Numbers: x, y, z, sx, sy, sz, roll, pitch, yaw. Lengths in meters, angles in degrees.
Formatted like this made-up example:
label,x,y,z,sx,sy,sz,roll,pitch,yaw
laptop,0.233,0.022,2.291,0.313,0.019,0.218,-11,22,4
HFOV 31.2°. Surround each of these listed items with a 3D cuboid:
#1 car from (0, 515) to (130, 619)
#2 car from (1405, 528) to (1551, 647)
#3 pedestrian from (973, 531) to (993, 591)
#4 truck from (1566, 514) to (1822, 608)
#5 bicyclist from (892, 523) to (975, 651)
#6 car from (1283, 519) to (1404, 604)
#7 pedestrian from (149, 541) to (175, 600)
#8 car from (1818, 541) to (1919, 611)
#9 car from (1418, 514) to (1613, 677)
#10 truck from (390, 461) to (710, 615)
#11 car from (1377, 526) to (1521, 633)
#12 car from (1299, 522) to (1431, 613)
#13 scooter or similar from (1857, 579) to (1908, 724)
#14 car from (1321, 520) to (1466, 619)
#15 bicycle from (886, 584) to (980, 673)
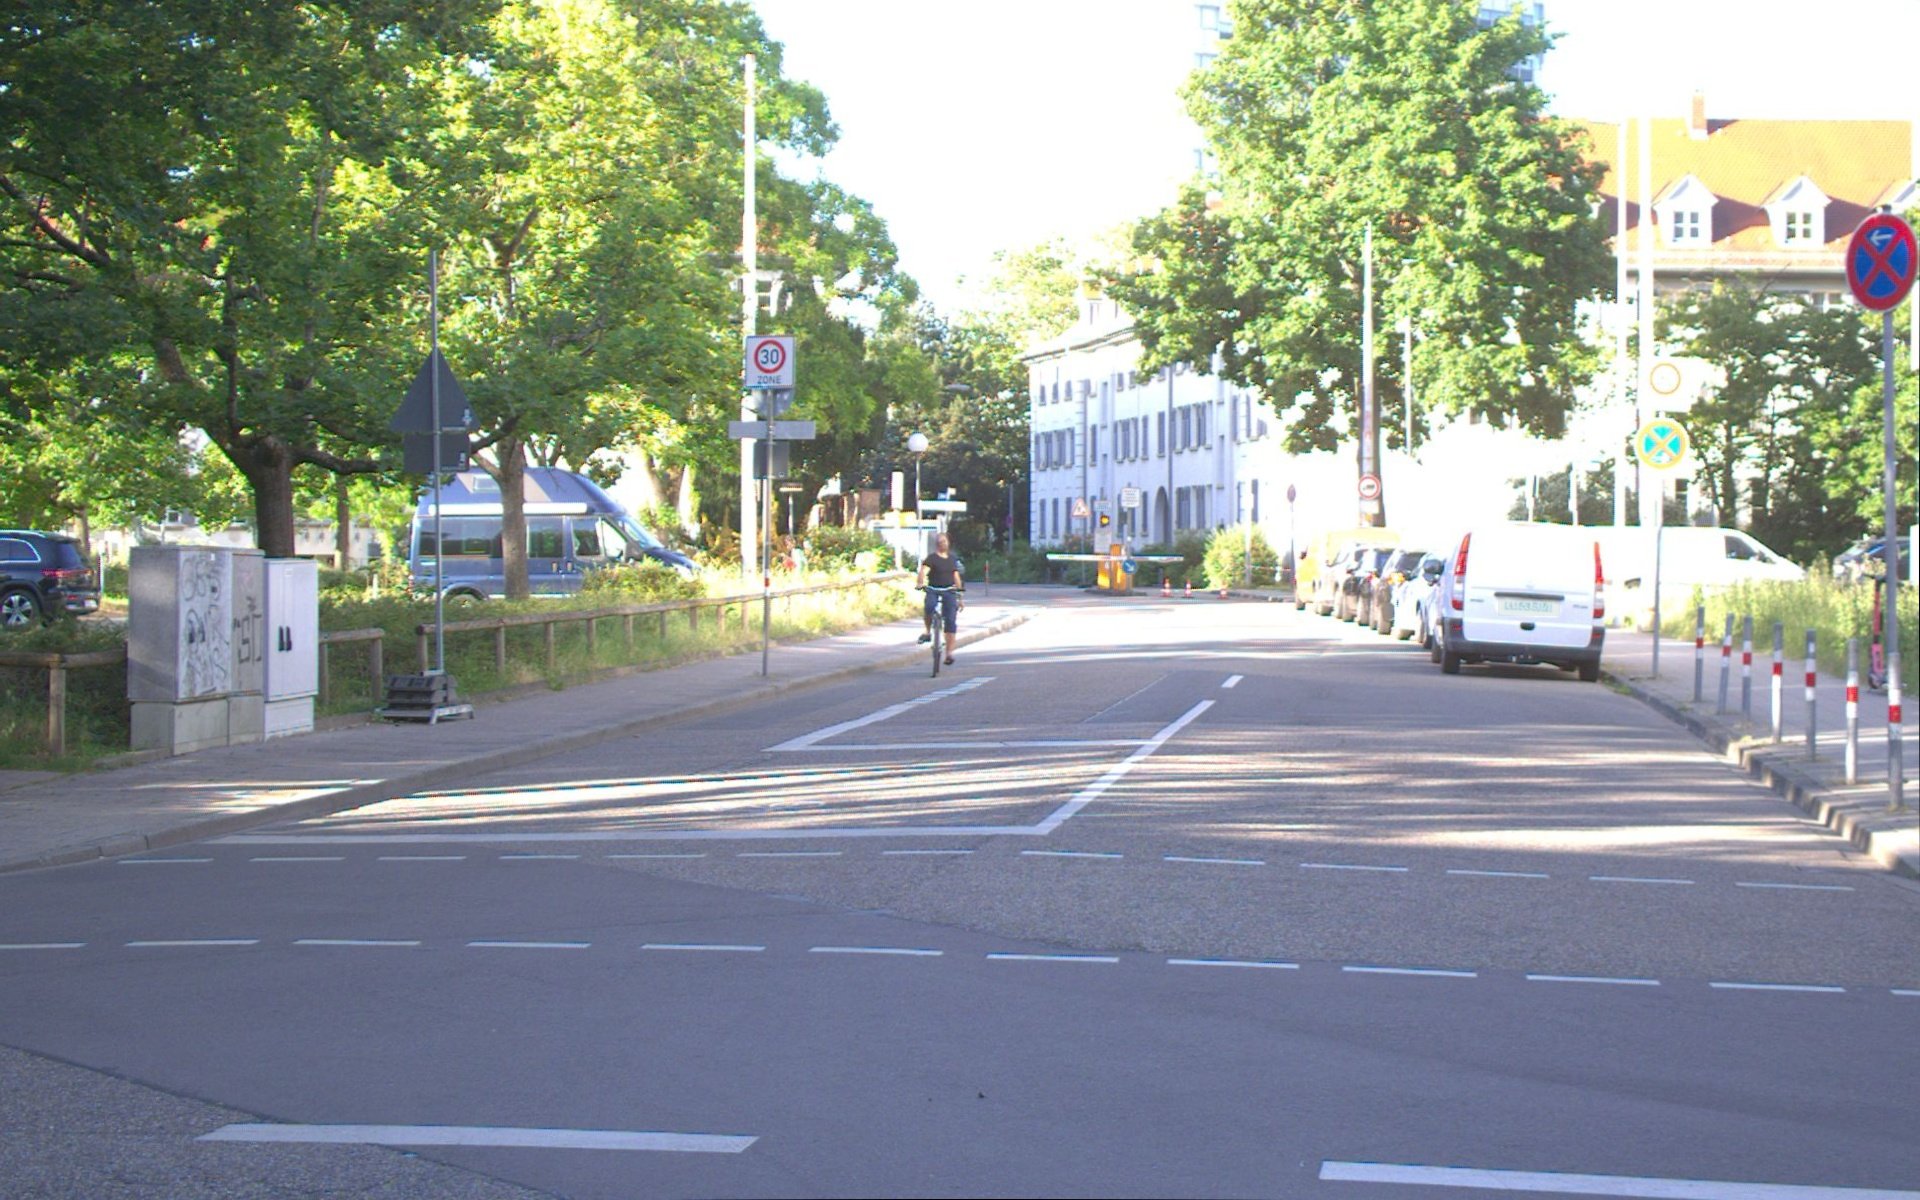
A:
label,x,y,z,sx,sy,sz,roll,pitch,yaw
car,-16.623,-0.553,58.221,4.556,1.724,2.073,0,0,8
car,7.494,-0.228,50.085,1.889,1.550,4.414,1,2,6
pedestrian,0.633,-1.078,95.585,0.545,1.671,0.476,0,1,-1
truck,16.770,-0.895,78.706,5.337,2.007,2.000,1,1,-2
bicyclist,-0.315,-0.160,41.649,0.866,1.510,1.019,-2,0,5
car,8.143,-0.850,73.396,1.888,1.650,4.416,1,2,-2
pedestrian,-17.987,-0.666,77.495,0.558,1.319,0.577,0,1,-10
car,21.597,-0.540,78.512,3.554,1.541,1.559,1,1,-2
car,6.706,-0.115,41.922,2.086,1.789,4.414,1,2,6
truck,-6.716,-1.032,56.579,4.830,2.391,2.087,1,1,7
car,7.851,-0.370,55.570,1.888,1.550,4.415,1,2,3
car,7.964,-0.671,67.980,1.888,1.650,4.416,1,2,-2
scooter or similar,9.270,0.505,34.564,0.330,1.419,1.334,3,1,10
car,7.910,-0.598,63.108,1.888,1.650,4.416,1,2,-2
bicycle,-0.311,0.330,41.637,0.866,1.006,2.414,-2,0,5
